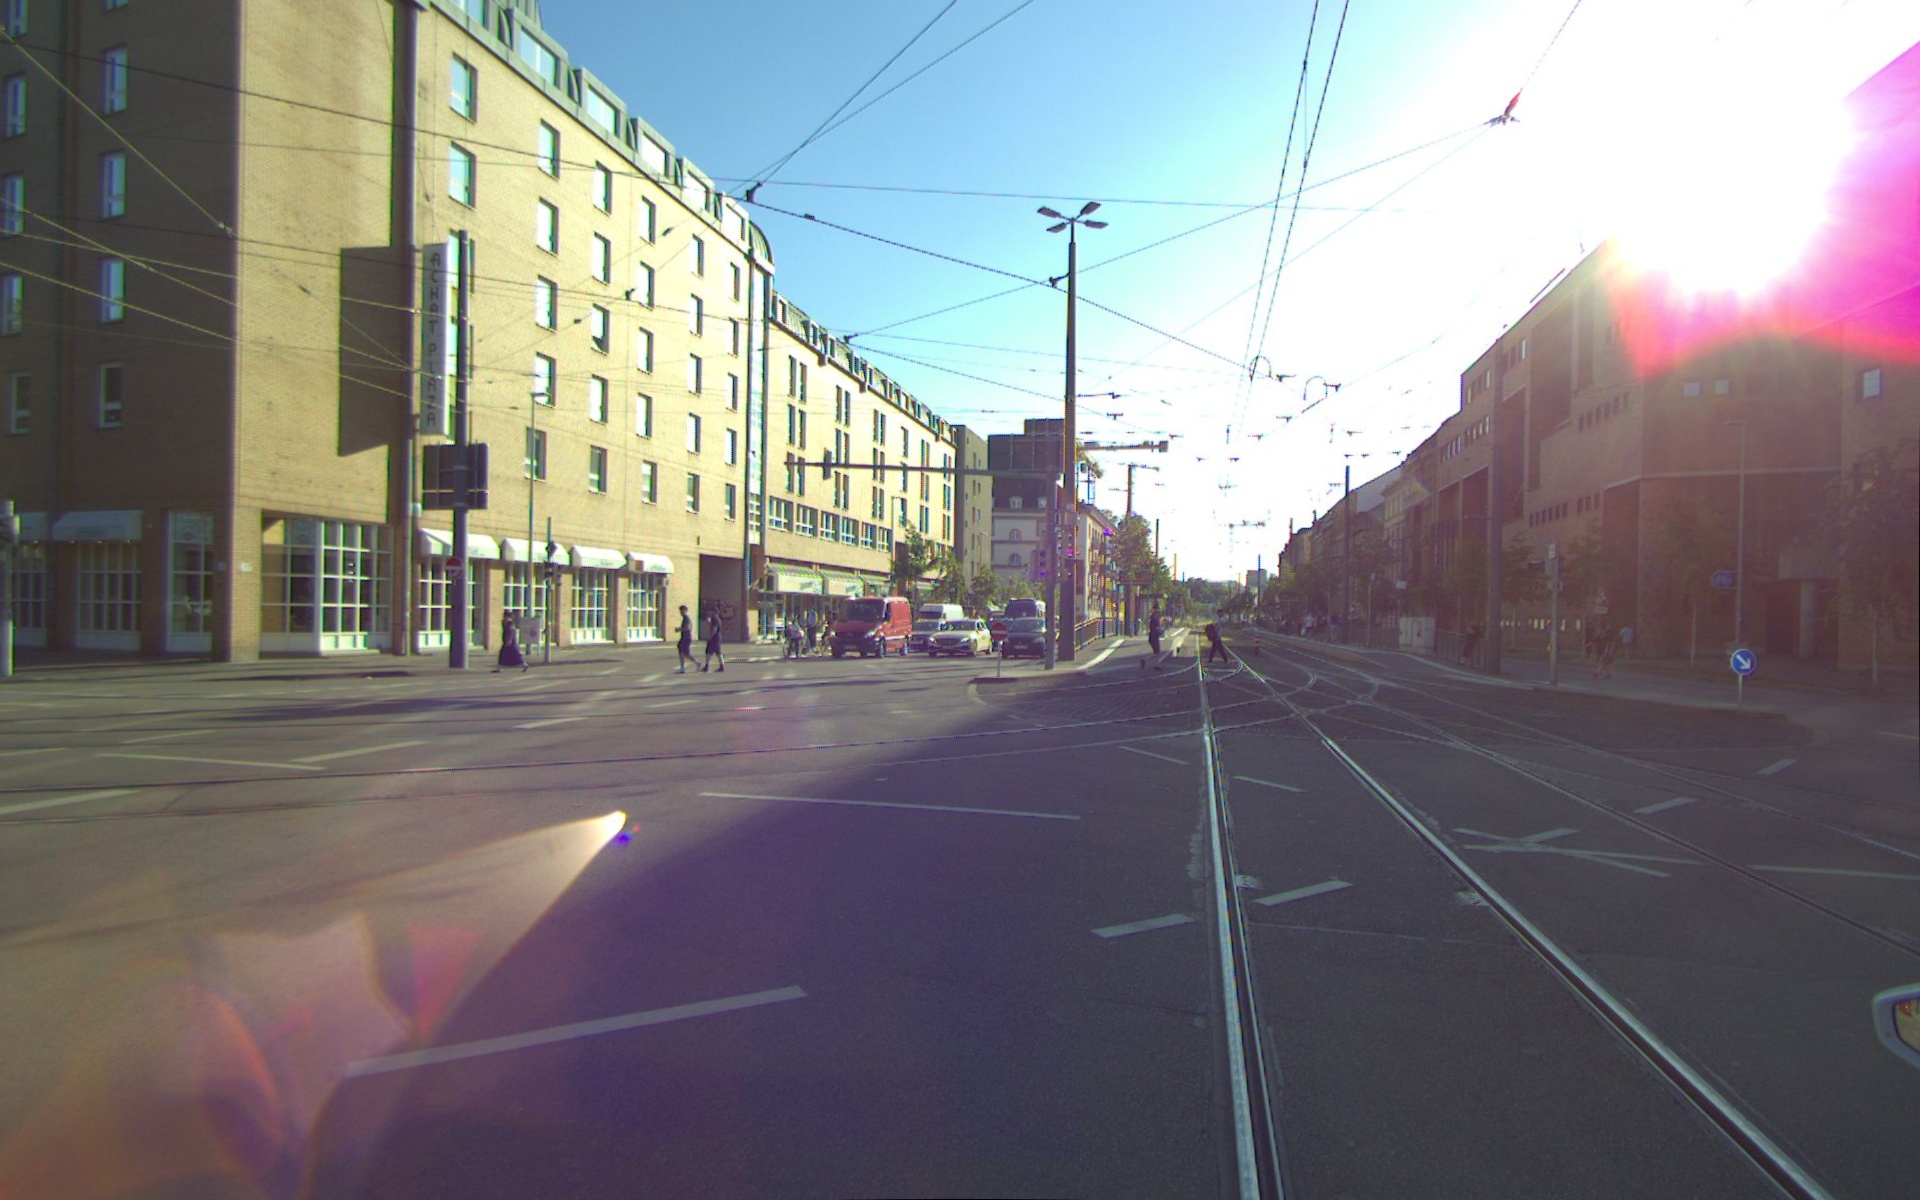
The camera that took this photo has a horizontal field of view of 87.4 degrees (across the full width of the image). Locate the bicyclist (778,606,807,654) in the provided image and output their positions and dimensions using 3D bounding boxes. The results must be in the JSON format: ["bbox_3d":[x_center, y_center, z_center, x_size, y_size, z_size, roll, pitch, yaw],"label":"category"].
[{"bbox_3d":[-6.356,1.138,38.220,0.801,1.810,0.816,1,-1,12],"label":"bicyclist"}]

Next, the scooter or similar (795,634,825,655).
[{"bbox_3d":[-6.316,1.860,42.315,0.536,0.842,1.235,0,-1,36],"label":"scooter or similar"}]

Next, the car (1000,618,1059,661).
[{"bbox_3d":[2.707,1.462,38.250,1.727,1.467,4.002,1,0,11],"label":"car"}]

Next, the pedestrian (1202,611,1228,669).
[{"bbox_3d":[7.849,1.227,30.962,0.628,1.740,0.778,1,-1,4],"label":"pedestrian"}]

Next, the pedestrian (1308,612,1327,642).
[{"bbox_3d":[20.502,1.525,57.591,0.872,1.694,1.096,1,-1,12],"label":"pedestrian"}]

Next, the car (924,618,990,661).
[{"bbox_3d":[-0.065,1.527,40.272,1.854,1.553,4.002,1,0,11],"label":"car"}]

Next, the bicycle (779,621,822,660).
[{"bbox_3d":[-6.074,1.530,38.378,0.914,1.461,2.105,1,-1,13],"label":"bicycle"}]

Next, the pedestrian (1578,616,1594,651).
[{"bbox_3d":[31.481,1.676,50.495,0.527,1.779,0.465,1,-1,12],"label":"pedestrian"}]

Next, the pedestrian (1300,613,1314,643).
[{"bbox_3d":[20.030,1.612,58.019,0.645,1.694,0.672,1,-1,12],"label":"pedestrian"}]

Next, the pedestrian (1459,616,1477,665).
[{"bbox_3d":[16.383,1.293,32.400,0.482,1.559,0.550,0,-1,28],"label":"pedestrian"}]

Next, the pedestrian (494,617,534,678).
[{"bbox_3d":[-11.813,1.253,26.632,0.854,1.574,0.544,1,0,-13],"label":"pedestrian"}]

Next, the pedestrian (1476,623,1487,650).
[{"bbox_3d":[35.478,2.480,68.327,0.527,1.779,0.422,1,-1,-1],"label":"pedestrian"}]

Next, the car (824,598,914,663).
[{"bbox_3d":[-3.425,1.150,39.147,2.043,2.319,5.268,1,-1,11],"label":"car"}]

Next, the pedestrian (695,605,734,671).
[{"bbox_3d":[-6.683,1.025,27.333,0.632,1.740,0.774,0,-1,41],"label":"pedestrian"}]

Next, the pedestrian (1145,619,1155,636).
[{"bbox_3d":[13.696,1.996,72.380,0.661,1.205,0.907,1,-1,13],"label":"pedestrian"}]

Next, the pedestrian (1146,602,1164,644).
[{"bbox_3d":[7.981,0.941,41.070,0.666,1.706,0.576,1,-1,18],"label":"pedestrian"}]

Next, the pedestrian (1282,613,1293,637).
[{"bbox_3d":[24.102,1.854,73.962,0.707,1.755,0.652,1,-1,13],"label":"pedestrian"}]

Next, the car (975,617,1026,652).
[{"bbox_3d":[2.008,1.618,48.469,1.854,1.553,4.002,1,0,11],"label":"car"}]

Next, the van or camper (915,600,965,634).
[{"bbox_3d":[-1.329,1.111,69.612,1.960,2.199,5.617,1,1,15],"label":"van or camper"}]

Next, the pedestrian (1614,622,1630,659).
[{"bbox_3d":[31.962,1.948,48.475,0.528,1.779,0.695,1,-1,24],"label":"pedestrian"}]

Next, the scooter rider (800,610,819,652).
[{"bbox_3d":[-6.333,1.303,42.307,0.525,1.778,0.569,0,-1,36],"label":"scooter rider"}]

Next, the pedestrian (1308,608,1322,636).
[{"bbox_3d":[19.448,1.221,55.016,0.671,1.503,0.829,1,-1,16],"label":"pedestrian"}]

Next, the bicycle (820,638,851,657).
[{"bbox_3d":[-6.839,2.607,55.180,1.700,0.993,0.640,0,-1,32],"label":"bicycle"}]

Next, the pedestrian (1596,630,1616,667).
[{"bbox_3d":[31.066,2.321,48.299,0.721,1.779,0.695,1,-1,26],"label":"pedestrian"}]

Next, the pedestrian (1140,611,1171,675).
[{"bbox_3d":[5.347,1.161,27.504,0.612,1.724,0.749,1,-1,-5],"label":"pedestrian"}]

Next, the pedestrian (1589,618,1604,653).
[{"bbox_3d":[32.243,1.795,50.910,0.527,1.779,0.422,1,-1,15],"label":"pedestrian"}]

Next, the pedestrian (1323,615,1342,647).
[{"bbox_3d":[20.196,1.669,54.504,0.872,1.694,0.672,1,-1,12],"label":"pedestrian"}]

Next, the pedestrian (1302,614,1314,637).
[{"bbox_3d":[24.430,1.797,70.528,0.661,1.582,0.907,1,-1,13],"label":"pedestrian"}]

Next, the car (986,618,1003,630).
[{"bbox_3d":[4.457,3.052,128.403,1.806,1.522,4.002,1,0,8],"label":"car"}]

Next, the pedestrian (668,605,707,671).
[{"bbox_3d":[-7.239,1.000,26.703,0.632,1.740,0.774,0,-1,41],"label":"pedestrian"}]

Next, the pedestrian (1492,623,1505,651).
[{"bbox_3d":[34.650,2.373,64.607,0.561,1.736,0.642,1,-1,8],"label":"pedestrian"}]

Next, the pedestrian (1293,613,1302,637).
[{"bbox_3d":[24.937,1.862,74.225,0.496,1.755,0.652,1,-1,13],"label":"pedestrian"}]

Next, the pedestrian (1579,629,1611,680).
[{"bbox_3d":[19.989,1.716,31.632,0.701,1.559,0.851,1,-1,22],"label":"pedestrian"}]
